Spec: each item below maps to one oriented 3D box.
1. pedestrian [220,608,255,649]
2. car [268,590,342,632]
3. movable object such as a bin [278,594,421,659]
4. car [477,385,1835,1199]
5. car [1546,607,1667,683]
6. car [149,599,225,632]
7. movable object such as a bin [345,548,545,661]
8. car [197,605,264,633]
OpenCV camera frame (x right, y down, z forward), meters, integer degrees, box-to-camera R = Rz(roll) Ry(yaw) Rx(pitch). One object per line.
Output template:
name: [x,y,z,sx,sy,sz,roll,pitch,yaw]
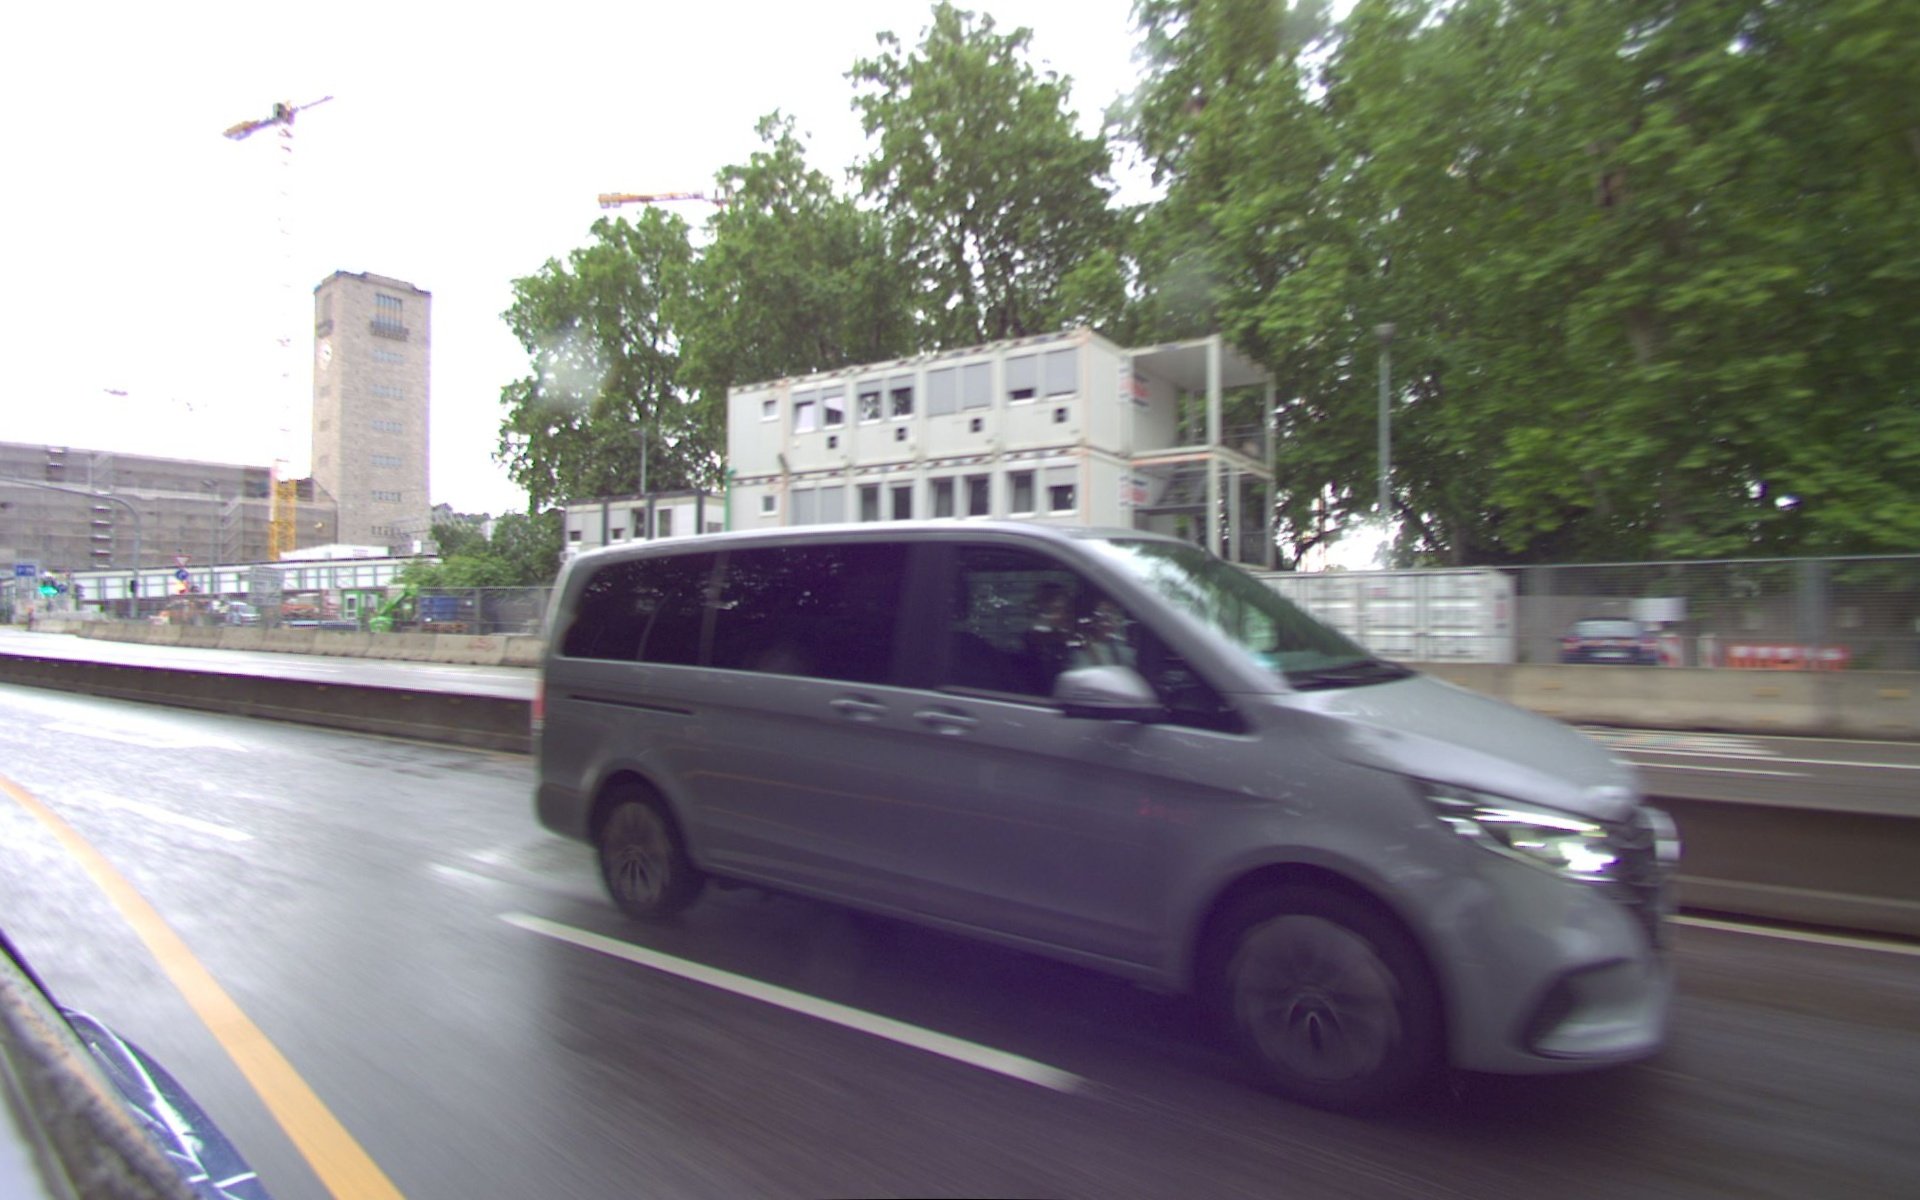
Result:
pedestrian: [-36.290,1.431,50.851,1.173,2.029,1.168,0,-1,40]
car: [-50.259,0.873,77.599,6.146,3.089,2.257,0,-2,31]
movable object such as a bin: [-31.730,1.344,52.608,6.367,3.152,3.902,0,-2,32]
car: [0.248,0.498,4.566,5.343,1.870,1.977,-1,-1,34]
car: [13.747,0.935,21.583,1.994,1.454,3.955,0,-2,33]
car: [-52.475,1.053,68.685,5.558,2.117,1.980,0,-3,29]
movable object such as a bin: [-24.258,0.285,47.602,8.332,4.839,4.713,0,-2,32]
car: [-47.370,1.236,65.701,4.781,1.775,1.831,0,-2,32]
